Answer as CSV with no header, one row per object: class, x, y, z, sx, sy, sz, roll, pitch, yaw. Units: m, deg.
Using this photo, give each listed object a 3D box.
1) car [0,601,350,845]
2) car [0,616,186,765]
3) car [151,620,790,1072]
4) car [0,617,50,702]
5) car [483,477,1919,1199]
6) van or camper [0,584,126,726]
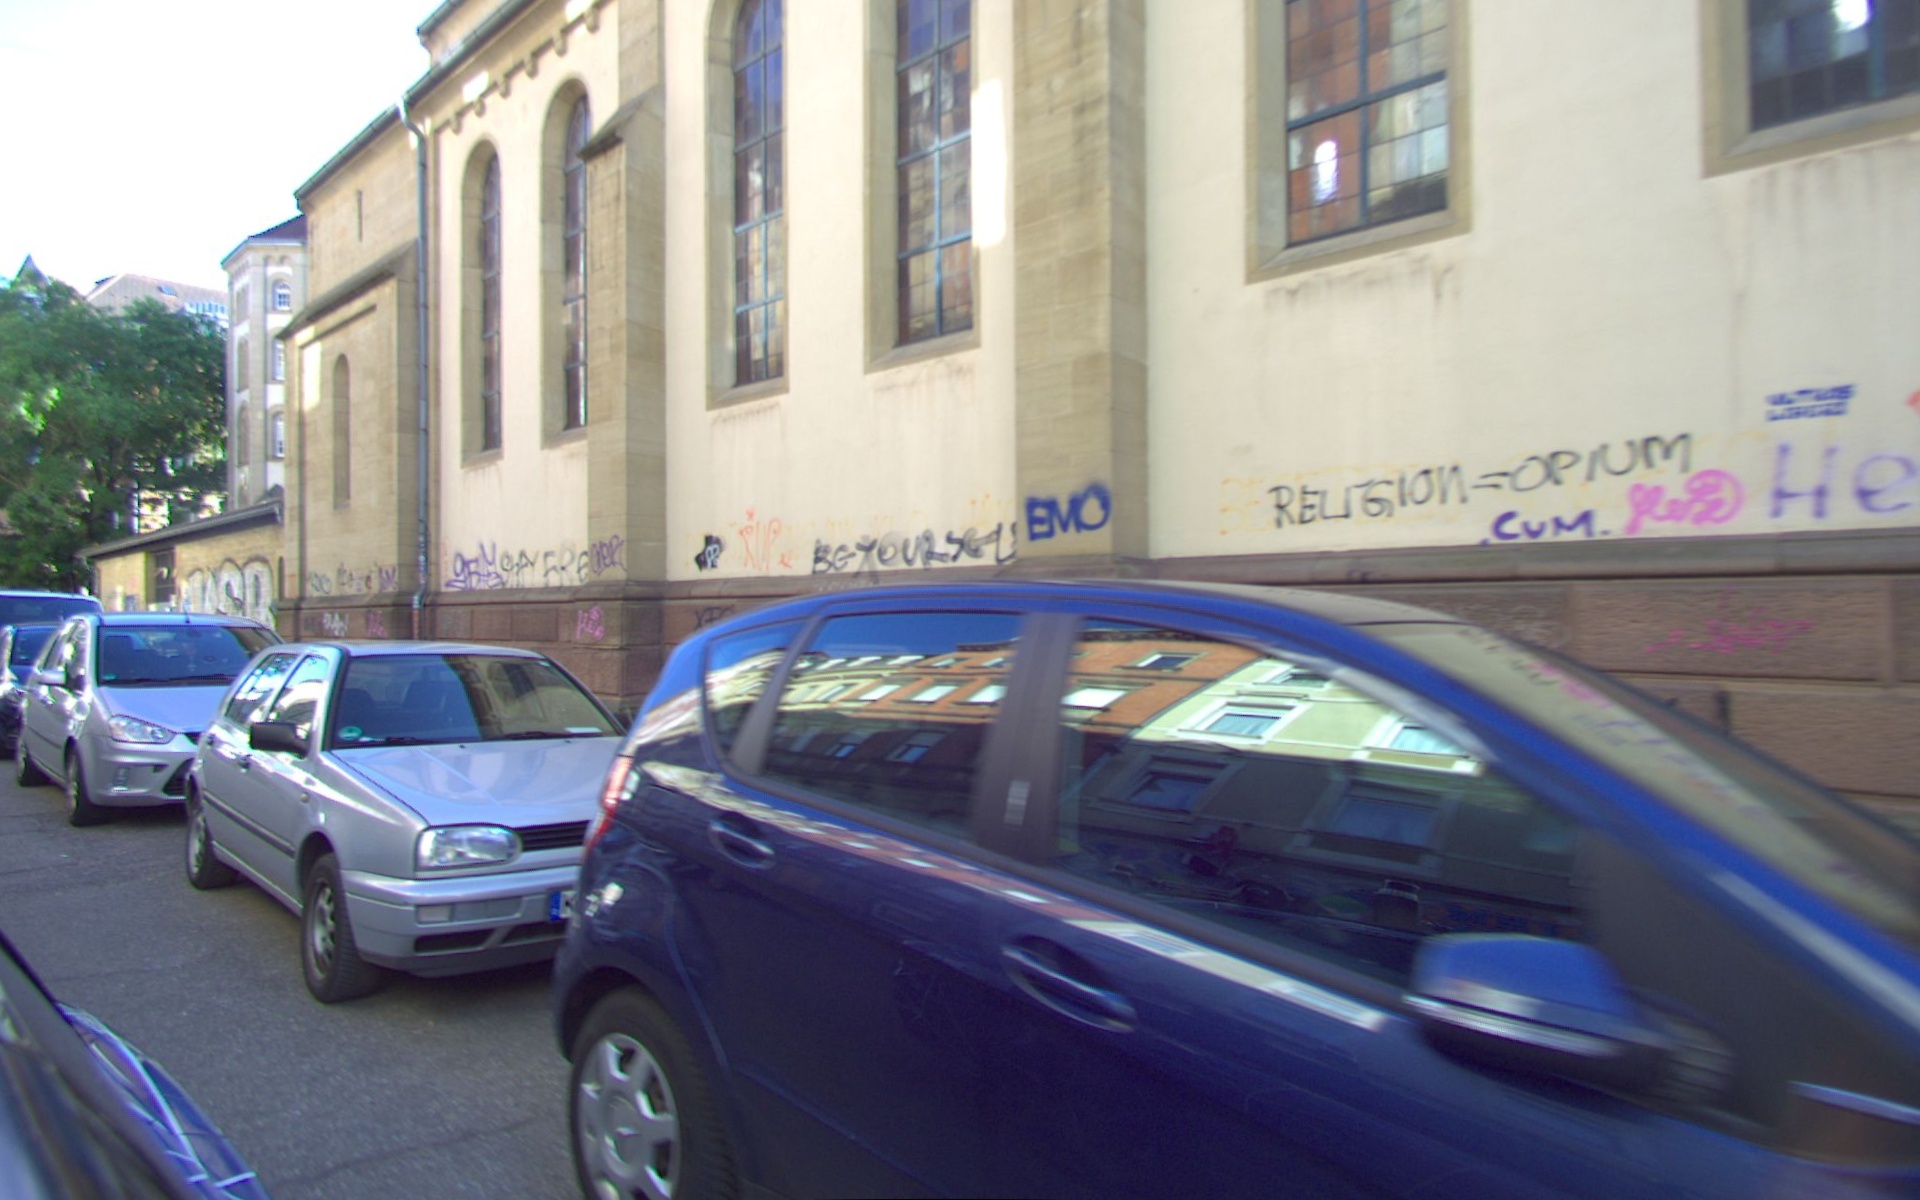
car,-6.822,0.820,8.622,3.999,1.579,1.701,-1,0,42
car,-10.719,0.964,12.076,3.735,1.492,1.674,-1,-1,42
car,-2.784,0.824,5.215,4.146,1.374,1.556,0,0,43
car,-19.361,1.144,20.014,3.639,1.578,1.631,-1,-1,42
car,0.829,0.679,1.922,3.833,1.564,1.775,-1,0,42
van or camper,-14.754,0.801,15.836,4.561,1.966,1.958,-1,-1,42
